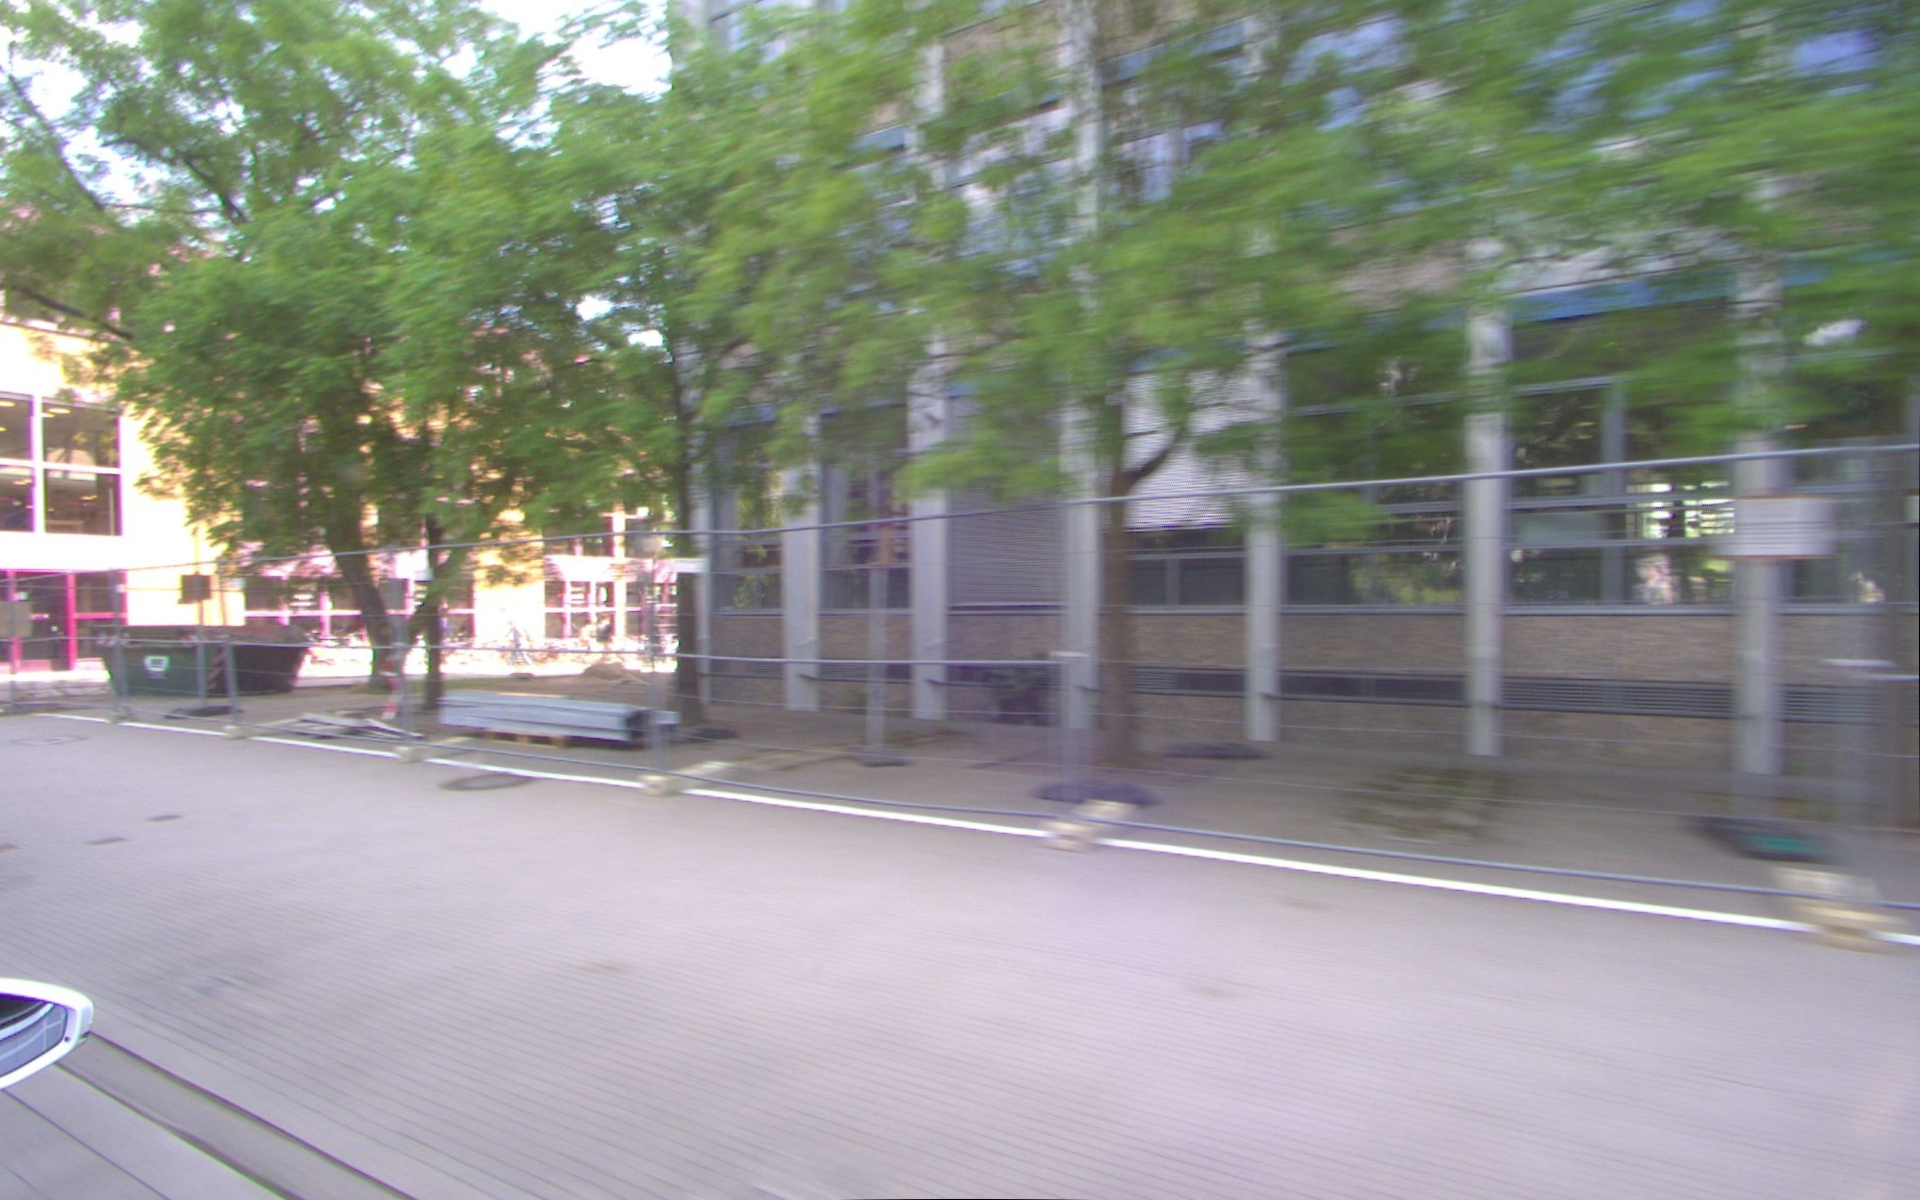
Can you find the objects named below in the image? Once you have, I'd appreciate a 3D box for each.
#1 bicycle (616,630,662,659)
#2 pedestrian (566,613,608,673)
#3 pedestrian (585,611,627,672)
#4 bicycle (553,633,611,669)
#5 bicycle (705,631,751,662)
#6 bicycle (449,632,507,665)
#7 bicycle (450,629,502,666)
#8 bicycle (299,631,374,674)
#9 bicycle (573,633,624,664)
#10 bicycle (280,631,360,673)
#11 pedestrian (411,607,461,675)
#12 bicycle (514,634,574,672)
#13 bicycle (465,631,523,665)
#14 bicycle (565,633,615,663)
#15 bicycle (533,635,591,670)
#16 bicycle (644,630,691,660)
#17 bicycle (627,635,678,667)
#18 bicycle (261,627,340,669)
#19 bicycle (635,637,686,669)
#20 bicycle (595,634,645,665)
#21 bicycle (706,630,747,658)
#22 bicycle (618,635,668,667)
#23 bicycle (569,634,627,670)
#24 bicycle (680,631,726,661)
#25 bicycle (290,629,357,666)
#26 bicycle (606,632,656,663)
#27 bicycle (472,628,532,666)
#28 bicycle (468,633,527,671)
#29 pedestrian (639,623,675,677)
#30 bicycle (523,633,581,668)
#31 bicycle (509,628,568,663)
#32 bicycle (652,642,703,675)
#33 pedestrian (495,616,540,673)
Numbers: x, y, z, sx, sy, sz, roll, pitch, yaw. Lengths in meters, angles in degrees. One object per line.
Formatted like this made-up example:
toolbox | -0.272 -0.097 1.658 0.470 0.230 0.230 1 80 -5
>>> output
bicycle | -13.395 1.856 41.846 0.537 1.184 1.994 0 -2 30
pedestrian | -11.158 1.282 29.965 0.674 1.750 0.901 -3 -1 26
pedestrian | -10.432 1.209 29.521 0.674 1.750 0.901 -3 -1 26
bicycle | -12.821 1.722 33.995 0.467 1.184 1.994 0 -2 30
bicycle | -9.101 1.817 39.349 0.537 1.184 1.994 0 -2 30
bicycle | -17.687 1.764 36.786 0.467 1.184 1.995 0 -2 30
bicycle | -16.190 1.584 33.529 0.465 1.184 1.811 0 -2 15
bicycle | -16.897 1.410 27.163 0.468 1.124 1.690 -1 -2 34
bicycle | -14.252 1.910 39.543 0.537 1.184 1.994 0 -2 30
bicycle | -17.774 1.423 27.853 0.516 1.124 1.805 -1 -2 35
pedestrian | -13.912 1.080 26.583 0.674 1.750 0.901 -3 -1 26
bicycle | -13.296 1.685 32.067 0.468 1.184 1.802 0 -2 34
bicycle | -16.876 1.739 36.277 0.467 1.184 1.995 0 -2 30
bicycle | -14.801 1.906 40.094 0.537 1.184 1.994 0 -2 30
bicycle | -13.725 1.801 34.551 0.467 1.184 1.994 0 -2 30
bicycle | -11.867 1.831 40.725 0.537 1.184 1.994 0 -2 30
bicycle | -11.588 1.927 37.832 0.537 1.184 1.994 0 -2 30
bicycle | -18.436 1.330 28.017 0.516 1.124 1.807 0 -2 30
bicycle | -11.159 1.969 37.395 0.537 1.184 1.994 0 -2 30
bicycle | -13.236 1.929 39.045 0.537 1.184 1.994 0 -2 30
bicycle | -10.231 1.924 43.921 0.537 1.184 1.994 0 -2 30
bicycle | -12.161 1.936 38.483 0.537 1.184 1.994 0 -2 30
bicycle | -12.199 1.736 33.830 0.467 1.184 1.994 0 -2 30
bicycle | -10.222 1.823 39.920 0.537 1.184 1.994 0 -2 30
bicycle | -20.006 1.472 31.503 0.466 1.124 1.806 0 -2 25
bicycle | -12.726 1.841 38.778 0.537 1.184 1.994 0 -2 30
bicycle | -14.659 1.508 32.100 0.467 1.184 1.803 0 -2 31
bicycle | -15.041 1.680 32.592 0.467 1.184 1.805 0 -2 29
pedestrian | -10.097 1.666 33.370 0.674 1.750 0.901 -3 -1 26
bicycle | -14.196 1.757 34.889 0.467 1.184 1.994 0 -2 30
bicycle | -14.722 1.593 35.021 0.467 1.184 1.994 0 -2 30
bicycle | -10.496 2.147 37.232 0.537 1.184 1.994 0 -2 30
pedestrian | -13.320 1.332 30.153 0.694 1.672 1.040 -1 -1 39
